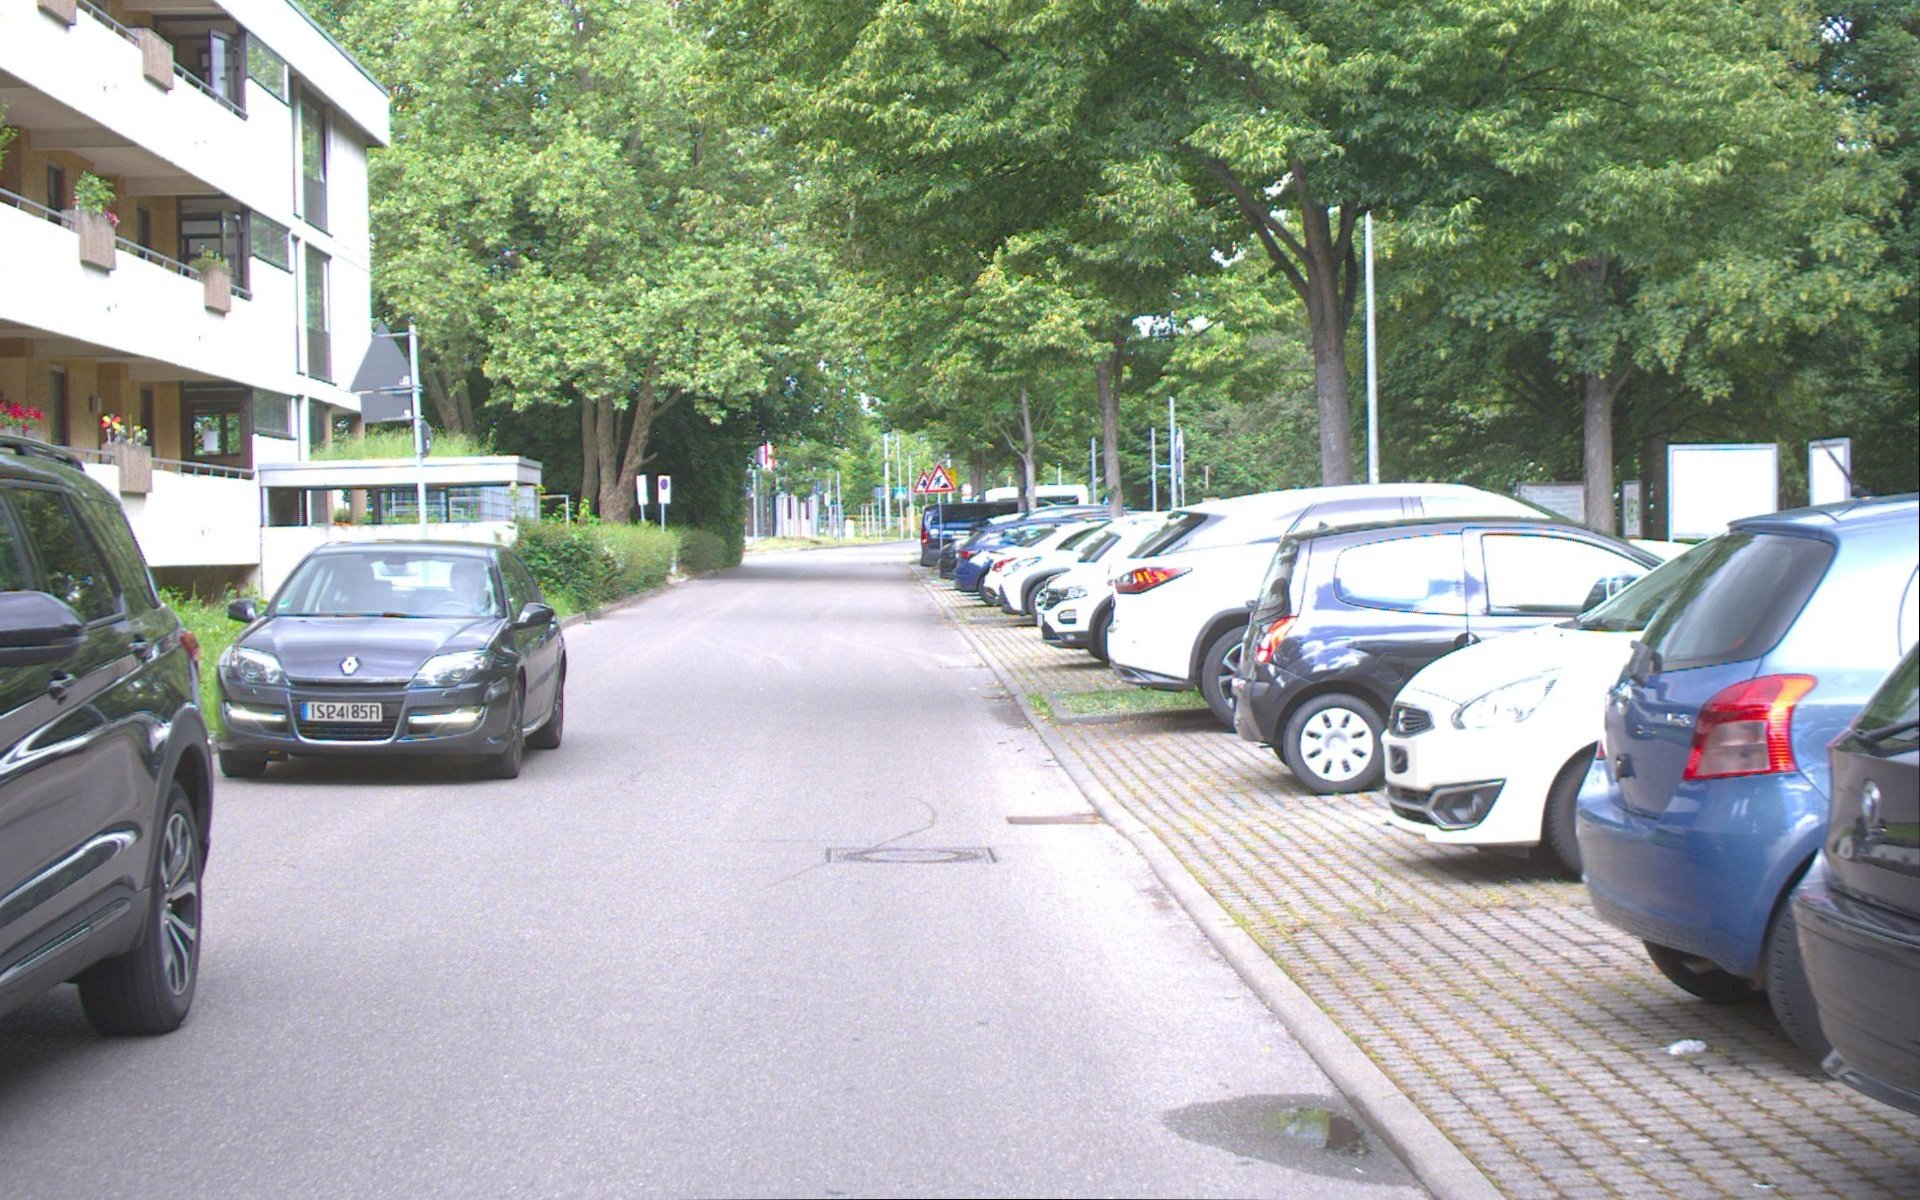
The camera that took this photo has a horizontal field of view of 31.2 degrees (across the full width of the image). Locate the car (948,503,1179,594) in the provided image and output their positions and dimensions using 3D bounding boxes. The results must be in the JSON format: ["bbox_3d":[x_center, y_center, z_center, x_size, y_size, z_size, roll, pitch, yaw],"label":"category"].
[{"bbox_3d":[1.910,-0.966,64.169,4.072,1.512,1.851,-3,1,-5],"label":"car"}]

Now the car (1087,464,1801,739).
[{"bbox_3d":[3.360,-0.006,24.642,4.818,1.687,1.974,-2,1,2],"label":"car"}]

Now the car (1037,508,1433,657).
[{"bbox_3d":[2.974,-0.208,37.658,4.007,1.417,1.792,-3,1,-6],"label":"car"}]

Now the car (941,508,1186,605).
[{"bbox_3d":[1.748,-0.755,59.032,4.072,1.451,1.851,-3,1,0],"label":"car"}]

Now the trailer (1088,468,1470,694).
[{"bbox_3d":[2.745,-0.178,29.943,3.029,1.784,1.564,-3,1,-4],"label":"trailer"}]

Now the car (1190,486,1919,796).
[{"bbox_3d":[3.447,0.197,19.358,4.158,1.565,1.851,-1,1,1],"label":"car"}]

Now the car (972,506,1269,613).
[{"bbox_3d":[2.486,-0.644,53.941,4.485,1.449,1.847,-3,1,-1],"label":"car"}]

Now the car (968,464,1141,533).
[{"bbox_3d":[3.445,-3.722,126.289,6.256,2.467,2.139,0,1,0],"label":"car"}]

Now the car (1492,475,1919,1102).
[{"bbox_3d":[3.744,0.413,9.665,4.134,1.565,1.786,-2,1,-3],"label":"car"}]

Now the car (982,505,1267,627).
[{"bbox_3d":[2.281,-0.485,48.128,3.840,1.510,1.881,-2,1,2],"label":"car"}]

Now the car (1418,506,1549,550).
[{"bbox_3d":[18.173,-2.495,119.507,4.393,1.423,1.703,-1,1,5],"label":"car"}]

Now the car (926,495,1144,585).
[{"bbox_3d":[1.537,-1.277,72.172,4.415,1.670,2.082,-3,2,-1],"label":"car"}]

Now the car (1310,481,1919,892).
[{"bbox_3d":[3.727,0.292,14.590,4.158,1.565,1.786,-2,1,-5],"label":"car"}]

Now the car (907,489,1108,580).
[{"bbox_3d":[1.203,-1.679,87.694,4.954,2.006,2.166,-3,1,0],"label":"car"}]

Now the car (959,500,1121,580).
[{"bbox_3d":[1.721,-1.312,74.782,3.379,1.569,1.797,-3,2,-1],"label":"car"}]

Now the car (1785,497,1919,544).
[{"bbox_3d":[30.711,-2.727,118.322,4.284,1.521,1.703,-1,1,6],"label":"car"}]

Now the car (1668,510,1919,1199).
[{"bbox_3d":[3.720,0.502,7.063,4.085,1.459,1.786,-2,1,-3],"label":"car"}]

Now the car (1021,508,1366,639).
[{"bbox_3d":[2.867,-0.346,42.784,4.053,1.417,1.817,-3,1,-2],"label":"car"}]

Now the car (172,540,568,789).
[{"bbox_3d":[-3.618,0.330,21.834,1.913,1.407,4.424,0,1,-2],"label":"car"}]

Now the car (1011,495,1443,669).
[{"bbox_3d":[2.680,-0.196,35.108,4.112,1.542,1.861,-3,1,-4],"label":"car"}]

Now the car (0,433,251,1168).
[{"bbox_3d":[-3.219,0.453,8.778,1.913,1.711,5.059,0,1,-2],"label":"car"}]
